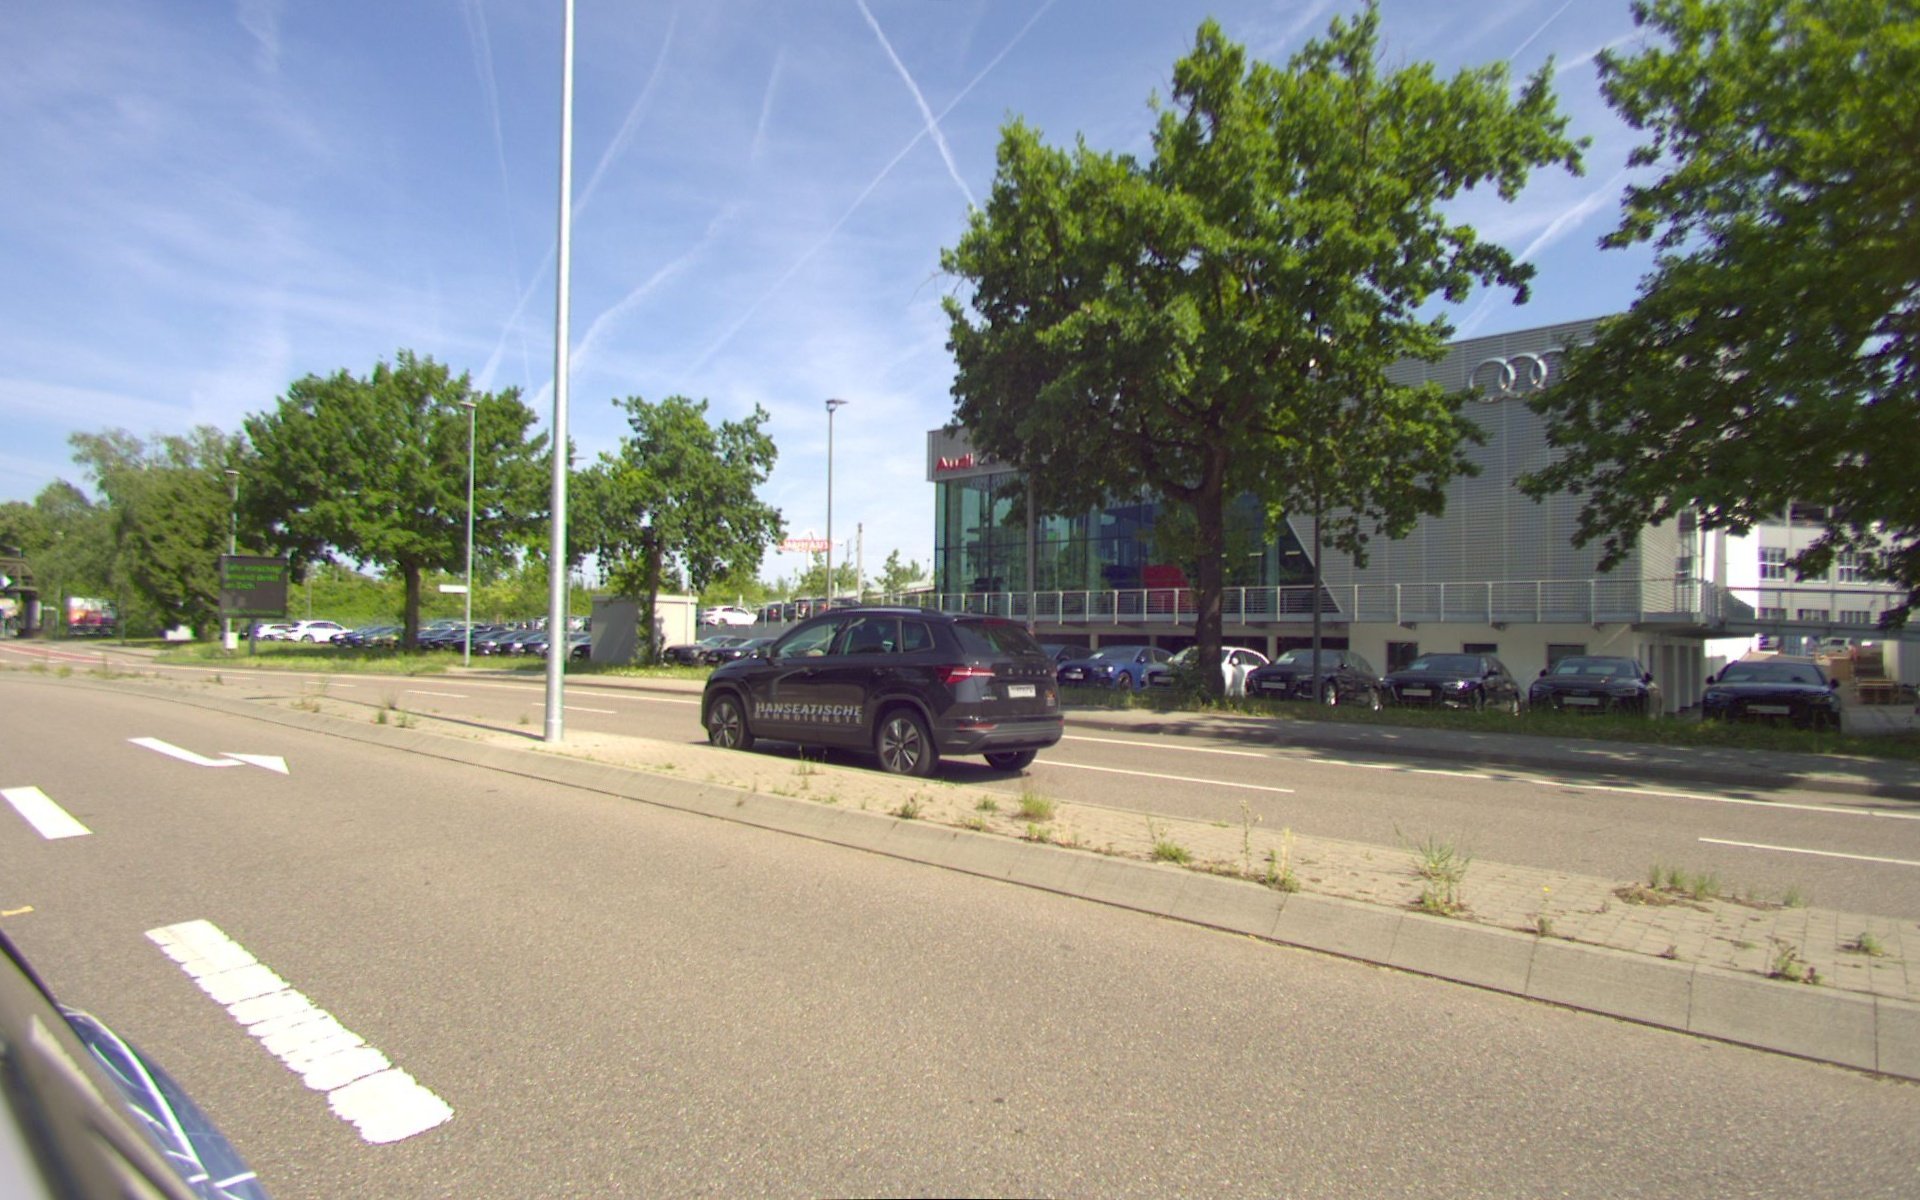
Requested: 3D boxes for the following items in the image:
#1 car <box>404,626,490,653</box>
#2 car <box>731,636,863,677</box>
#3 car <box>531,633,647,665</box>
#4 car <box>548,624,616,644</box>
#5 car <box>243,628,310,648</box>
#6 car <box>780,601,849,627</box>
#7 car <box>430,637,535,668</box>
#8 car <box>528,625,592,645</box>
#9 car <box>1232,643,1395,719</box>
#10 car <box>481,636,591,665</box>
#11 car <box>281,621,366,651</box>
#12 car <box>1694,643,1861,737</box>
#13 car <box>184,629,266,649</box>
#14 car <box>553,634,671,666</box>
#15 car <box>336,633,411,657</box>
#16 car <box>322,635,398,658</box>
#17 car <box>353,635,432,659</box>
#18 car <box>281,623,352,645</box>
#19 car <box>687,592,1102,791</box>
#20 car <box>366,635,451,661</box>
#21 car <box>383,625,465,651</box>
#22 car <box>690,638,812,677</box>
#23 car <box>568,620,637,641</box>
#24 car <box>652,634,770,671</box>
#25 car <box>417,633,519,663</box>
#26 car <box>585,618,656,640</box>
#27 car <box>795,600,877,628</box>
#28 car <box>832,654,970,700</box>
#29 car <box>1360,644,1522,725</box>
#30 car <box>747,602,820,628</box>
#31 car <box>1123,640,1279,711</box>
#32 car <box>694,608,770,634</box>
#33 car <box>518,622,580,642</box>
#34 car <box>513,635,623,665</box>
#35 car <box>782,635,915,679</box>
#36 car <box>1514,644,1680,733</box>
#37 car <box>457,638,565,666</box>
[{"bbox_3d":[-28.019,2.166,55.350,1.983,1.295,3.643,-1,-5,39],"label":"car"},{"bbox_3d":[-5.555,1.978,34.865,2.085,1.165,4.132,-1,-6,39],"label":"car"},{"bbox_3d":[-16.410,2.169,44.935,2.002,1.300,4.455,-1,-3,39],"label":"car"},{"bbox_3d":[-28.437,2.530,76.274,1.889,1.429,4.455,-1,-2,39],"label":"car"},{"bbox_3d":[-48.426,2.676,71.742,1.815,1.381,3.642,-1,-2,41],"label":"car"},{"bbox_3d":[-8.489,0.839,59.304,1.667,1.507,3.946,-1,-2,40],"label":"car"},{"bbox_3d":[-24.403,2.670,51.838,1.917,1.487,4.455,-1,-3,39],"label":"car"},{"bbox_3d":[-30.665,2.653,77.745,1.997,1.488,4.162,-1,-2,38],"label":"car"},{"bbox_3d":[7.972,1.840,22.613,1.999,1.453,4.203,-1,-7,41],"label":"car"},{"bbox_3d":[-20.098,2.395,48.162,1.917,1.300,4.455,-1,-3,39],"label":"car"},{"bbox_3d":[-42.086,2.354,67.005,1.999,1.889,4.415,-1,-2,42],"label":"car"},{"bbox_3d":[13.953,1.566,17.222,1.999,1.369,3.945,-1,-7,41],"label":"car"},{"bbox_3d":[-55.438,2.927,76.395,1.999,1.400,4.638,-1,-2,41],"label":"car"},{"bbox_3d":[-14.813,2.125,43.266,1.917,1.300,4.455,-1,-3,39],"label":"car"},{"bbox_3d":[-35.820,2.757,61.888,1.743,1.295,3.558,-1,-5,39],"label":"car"},{"bbox_3d":[-37.725,2.912,63.702,1.743,1.295,3.754,-1,-2,39],"label":"car"},{"bbox_3d":[-33.791,2.826,60.294,1.661,1.295,3.705,-1,-5,39],"label":"car"},{"bbox_3d":[-45.342,2.369,71.355,1.848,1.497,3.942,-2,-2,44],"label":"car"},{"bbox_3d":[-0.808,0.857,10.374,4.207,1.631,1.720,-1,-6,41],"label":"car"},{"bbox_3d":[-31.875,2.789,58.550,1.838,1.351,3.848,-1,-5,39],"label":"car"},{"bbox_3d":[-30.040,2.133,56.790,1.863,1.295,3.558,-1,-5,39],"label":"car"},{"bbox_3d":[-7.449,2.081,36.344,1.895,1.165,3.948,-1,-6,39],"label":"car"},{"bbox_3d":[-26.347,2.266,74.673,1.978,1.496,4.455,-1,-3,39],"label":"car"},{"bbox_3d":[-9.323,1.990,38.075,1.895,1.165,3.948,-1,-6,39],"label":"car"},{"bbox_3d":[-25.999,2.541,53.609,1.978,1.487,4.455,-1,-3,39],"label":"car"},{"bbox_3d":[-24.515,2.142,73.224,1.978,1.496,4.455,-1,-3,39],"label":"car"},{"bbox_3d":[-6.964,0.804,57.238,1.985,1.507,4.473,-1,-2,40],"label":"car"},{"bbox_3d":[-1.754,2.391,31.276,1.953,1.199,4.132,-1,-6,39],"label":"car"},{"bbox_3d":[10.065,1.785,21.037,1.999,1.453,4.096,-1,-7,41],"label":"car"},{"bbox_3d":[-10.629,0.892,61.153,2.050,1.507,3.946,-1,-2,40],"label":"car"},{"bbox_3d":[5.841,1.830,24.242,1.999,1.453,3.945,-1,-7,41],"label":"car"},{"bbox_3d":[-14.501,1.369,64.625,1.978,1.496,4.455,-1,-3,39],"label":"car"},{"bbox_3d":[-32.369,2.499,79.790,1.997,1.488,4.162,-1,-2,38],"label":"car"},{"bbox_3d":[-17.976,2.297,46.541,1.690,1.300,4.455,-1,-3,39],"label":"car"},{"bbox_3d":[-3.571,1.880,33.148,1.953,1.199,4.132,-1,-6,39],"label":"car"},{"bbox_3d":[12.051,1.707,19.033,2.050,1.453,4.260,-1,-7,40],"label":"car"},{"bbox_3d":[-22.124,2.561,50.007,1.917,1.300,4.455,-1,-3,39],"label":"car"}]
